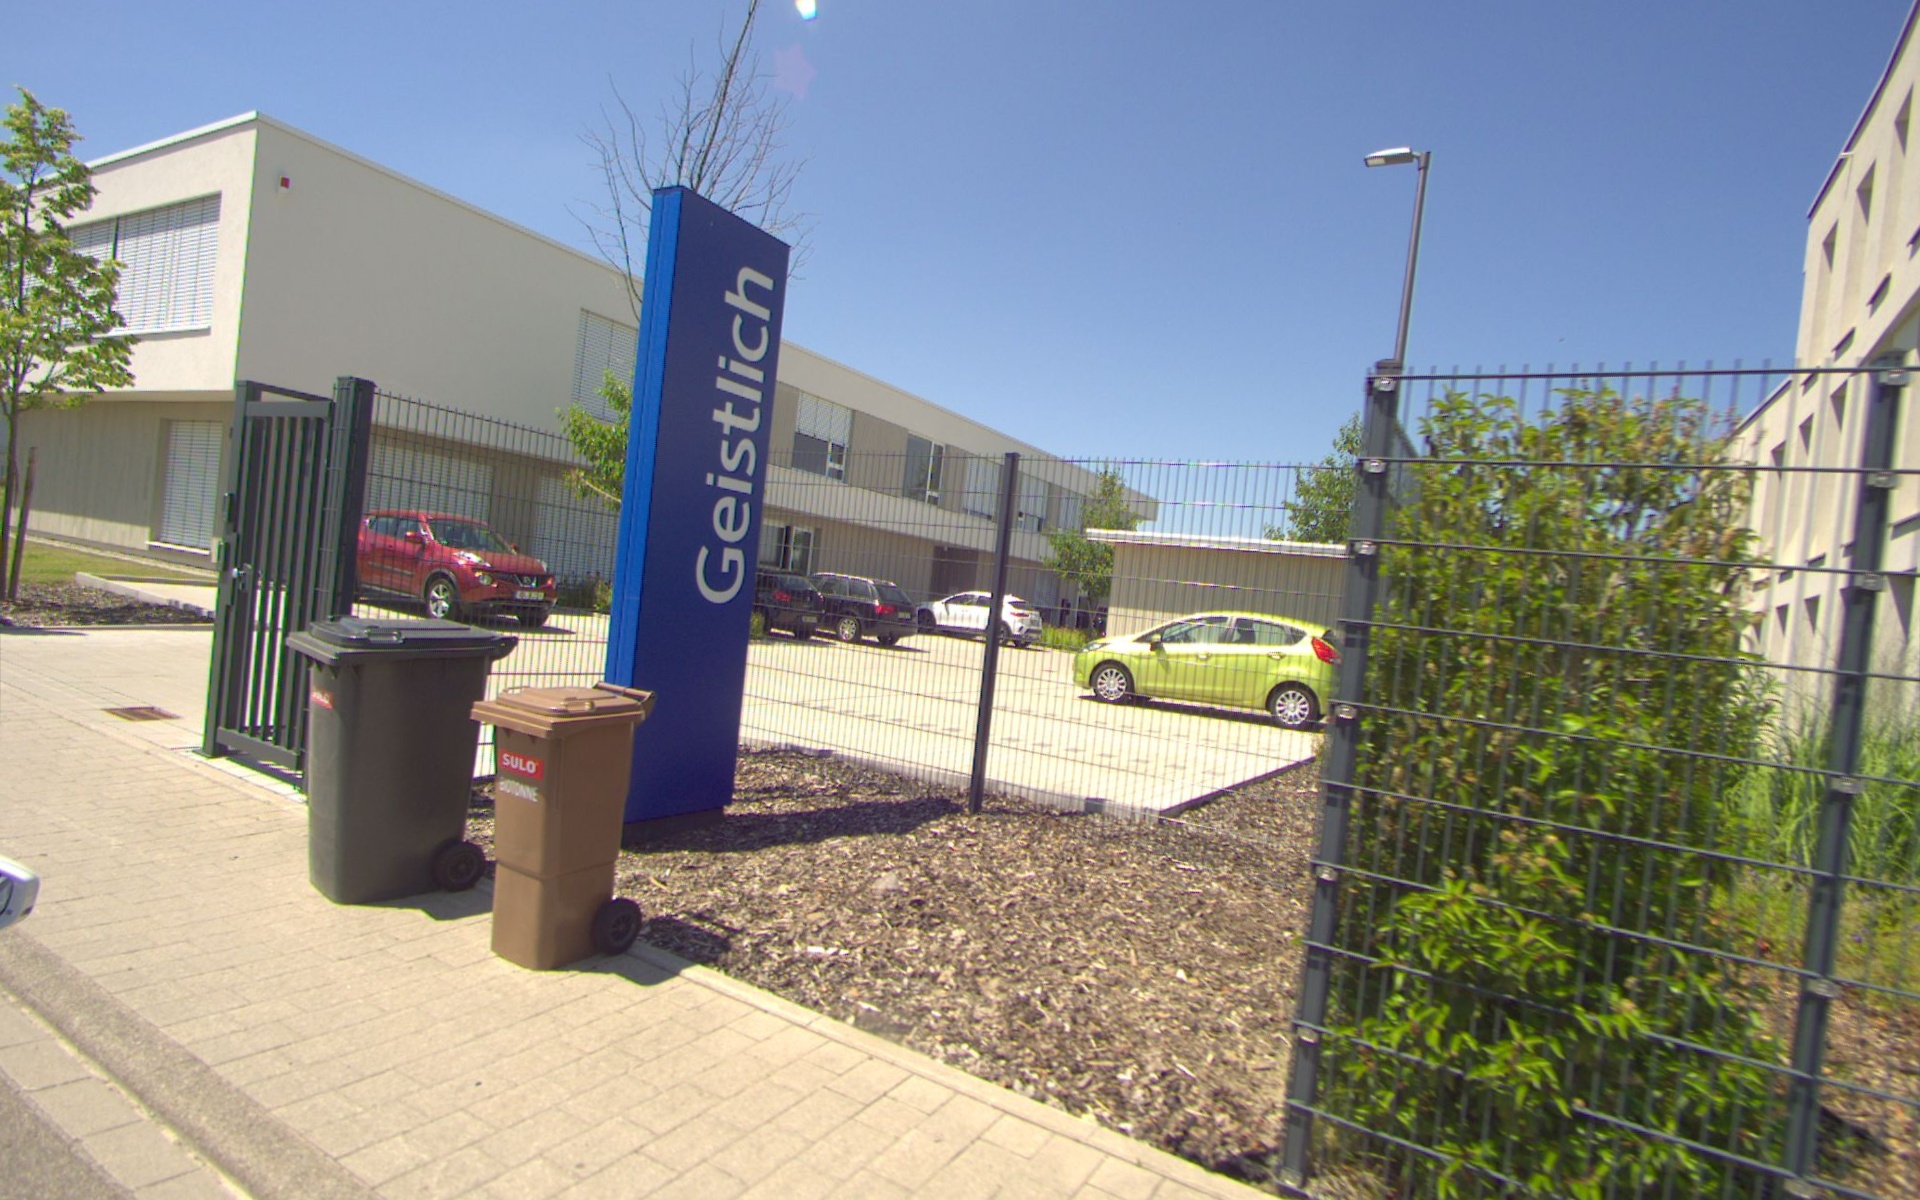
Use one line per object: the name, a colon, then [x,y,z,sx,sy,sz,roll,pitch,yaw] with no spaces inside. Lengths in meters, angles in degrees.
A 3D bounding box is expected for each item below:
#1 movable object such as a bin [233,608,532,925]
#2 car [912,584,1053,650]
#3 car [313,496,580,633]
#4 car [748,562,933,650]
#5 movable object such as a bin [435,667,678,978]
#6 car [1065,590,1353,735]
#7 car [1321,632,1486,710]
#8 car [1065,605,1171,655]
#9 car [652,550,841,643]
movable object such as a bin: [-2.308,0.608,4.052,0.687,1.062,0.748,7,2,31]
car: [0.671,0.517,30.817,3.871,1.450,1.671,8,1,29]
car: [-8.134,-0.566,15.870,4.007,1.577,1.671,8,1,28]
car: [-2.782,0.135,23.216,3.871,1.450,1.671,8,1,29]
movable object such as a bin: [-1.439,0.745,3.608,0.545,0.937,0.524,7,2,31]
car: [3.491,0.830,14.164,3.538,1.482,1.613,7,0,27]
car: [12.127,1.904,27.571,3.871,1.450,1.671,8,1,29]
car: [6.498,1.226,41.457,3.871,1.450,1.671,8,1,29]
car: [-4.563,-0.080,21.430,3.614,1.450,1.671,8,1,29]
